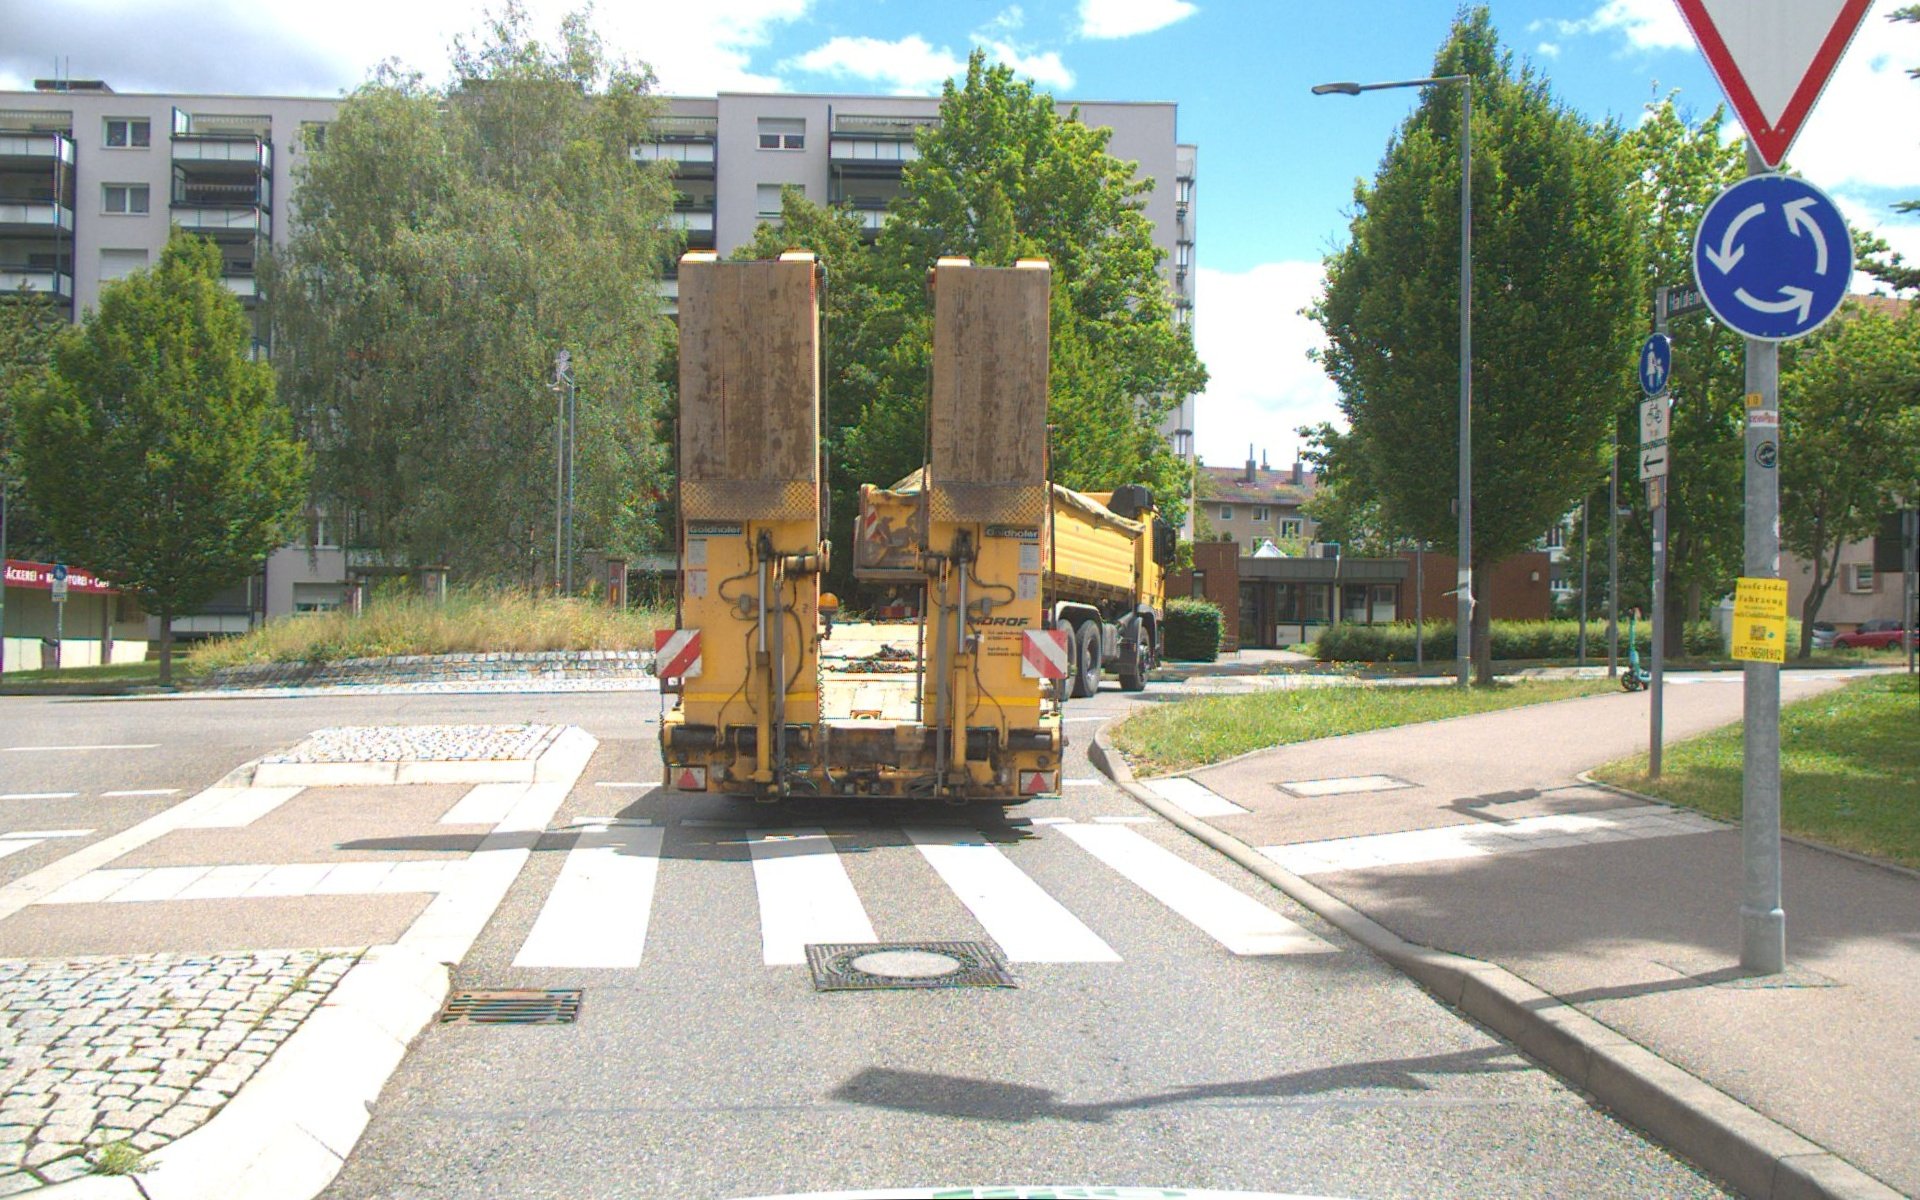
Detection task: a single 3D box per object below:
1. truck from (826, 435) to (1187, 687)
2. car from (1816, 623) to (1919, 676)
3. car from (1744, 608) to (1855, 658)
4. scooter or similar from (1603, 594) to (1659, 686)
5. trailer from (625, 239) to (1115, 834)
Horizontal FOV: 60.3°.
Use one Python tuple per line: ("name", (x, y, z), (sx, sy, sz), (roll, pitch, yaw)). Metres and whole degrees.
("truck", (1.084, -0.558, 24.863), (2.926, 3.087, 8.488), (2, 1, 19))
("car", (36.293, 1.953, 65.540), (1.980, 1.975, 3.981), (2, -1, -17))
("car", (35.367, 1.367, 69.755), (1.962, 1.975, 3.981), (2, -1, -17))
("scooter or similar", (10.407, 0.607, 25.640), (0.476, 1.366, 1.383), (-1, 0, 35))
("trailer", (-0.310, -0.438, 15.176), (2.804, 3.431, 10.845), (2, 1, 2))
